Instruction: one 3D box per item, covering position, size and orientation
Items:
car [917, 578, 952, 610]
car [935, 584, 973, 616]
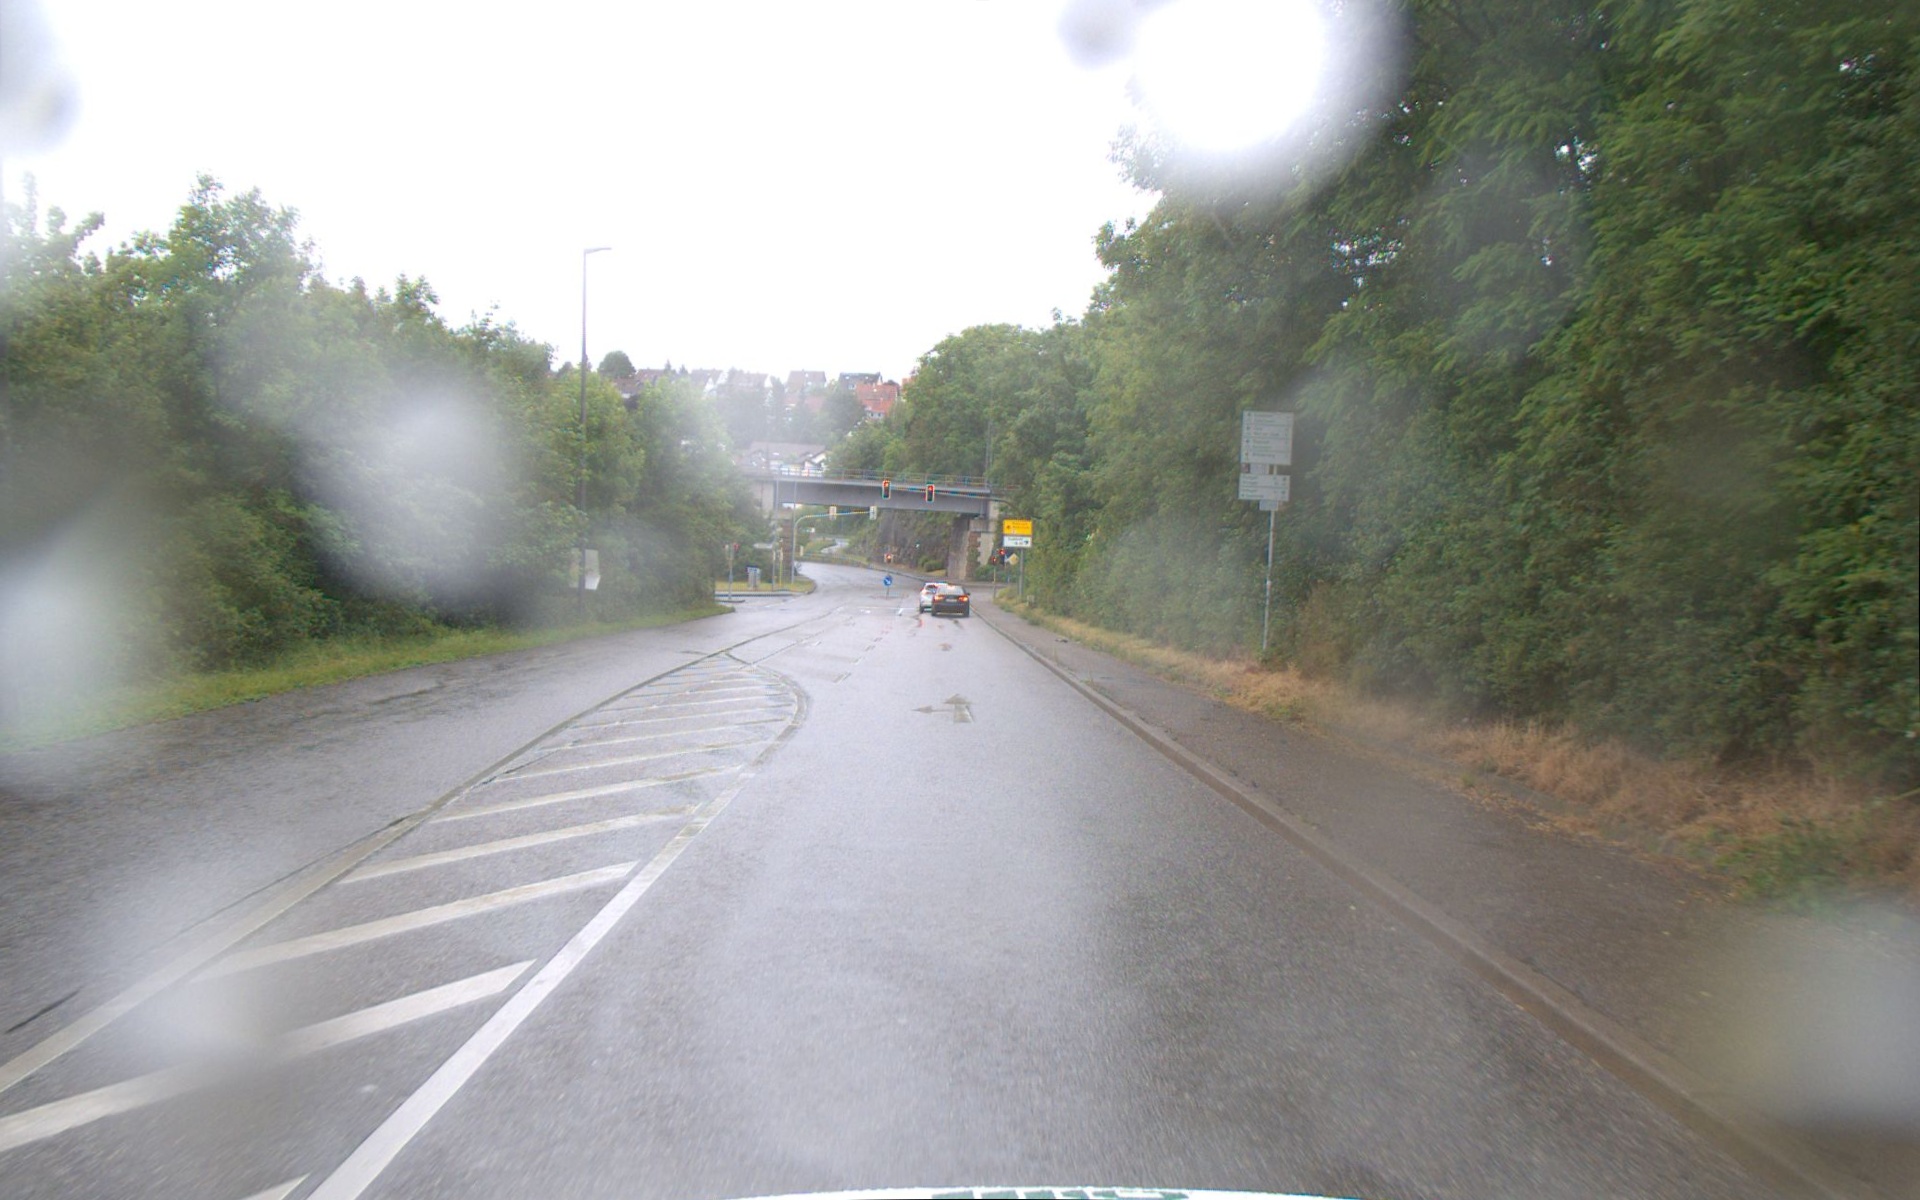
[{"bbox_3d":[-1.276,-0.315,84.095,1.732,1.590,4.000,1,0,0],"label":"car"},{"bbox_3d":[-0.271,-0.012,77.345,1.732,1.404,4.000,1,0,0],"label":"car"}]
